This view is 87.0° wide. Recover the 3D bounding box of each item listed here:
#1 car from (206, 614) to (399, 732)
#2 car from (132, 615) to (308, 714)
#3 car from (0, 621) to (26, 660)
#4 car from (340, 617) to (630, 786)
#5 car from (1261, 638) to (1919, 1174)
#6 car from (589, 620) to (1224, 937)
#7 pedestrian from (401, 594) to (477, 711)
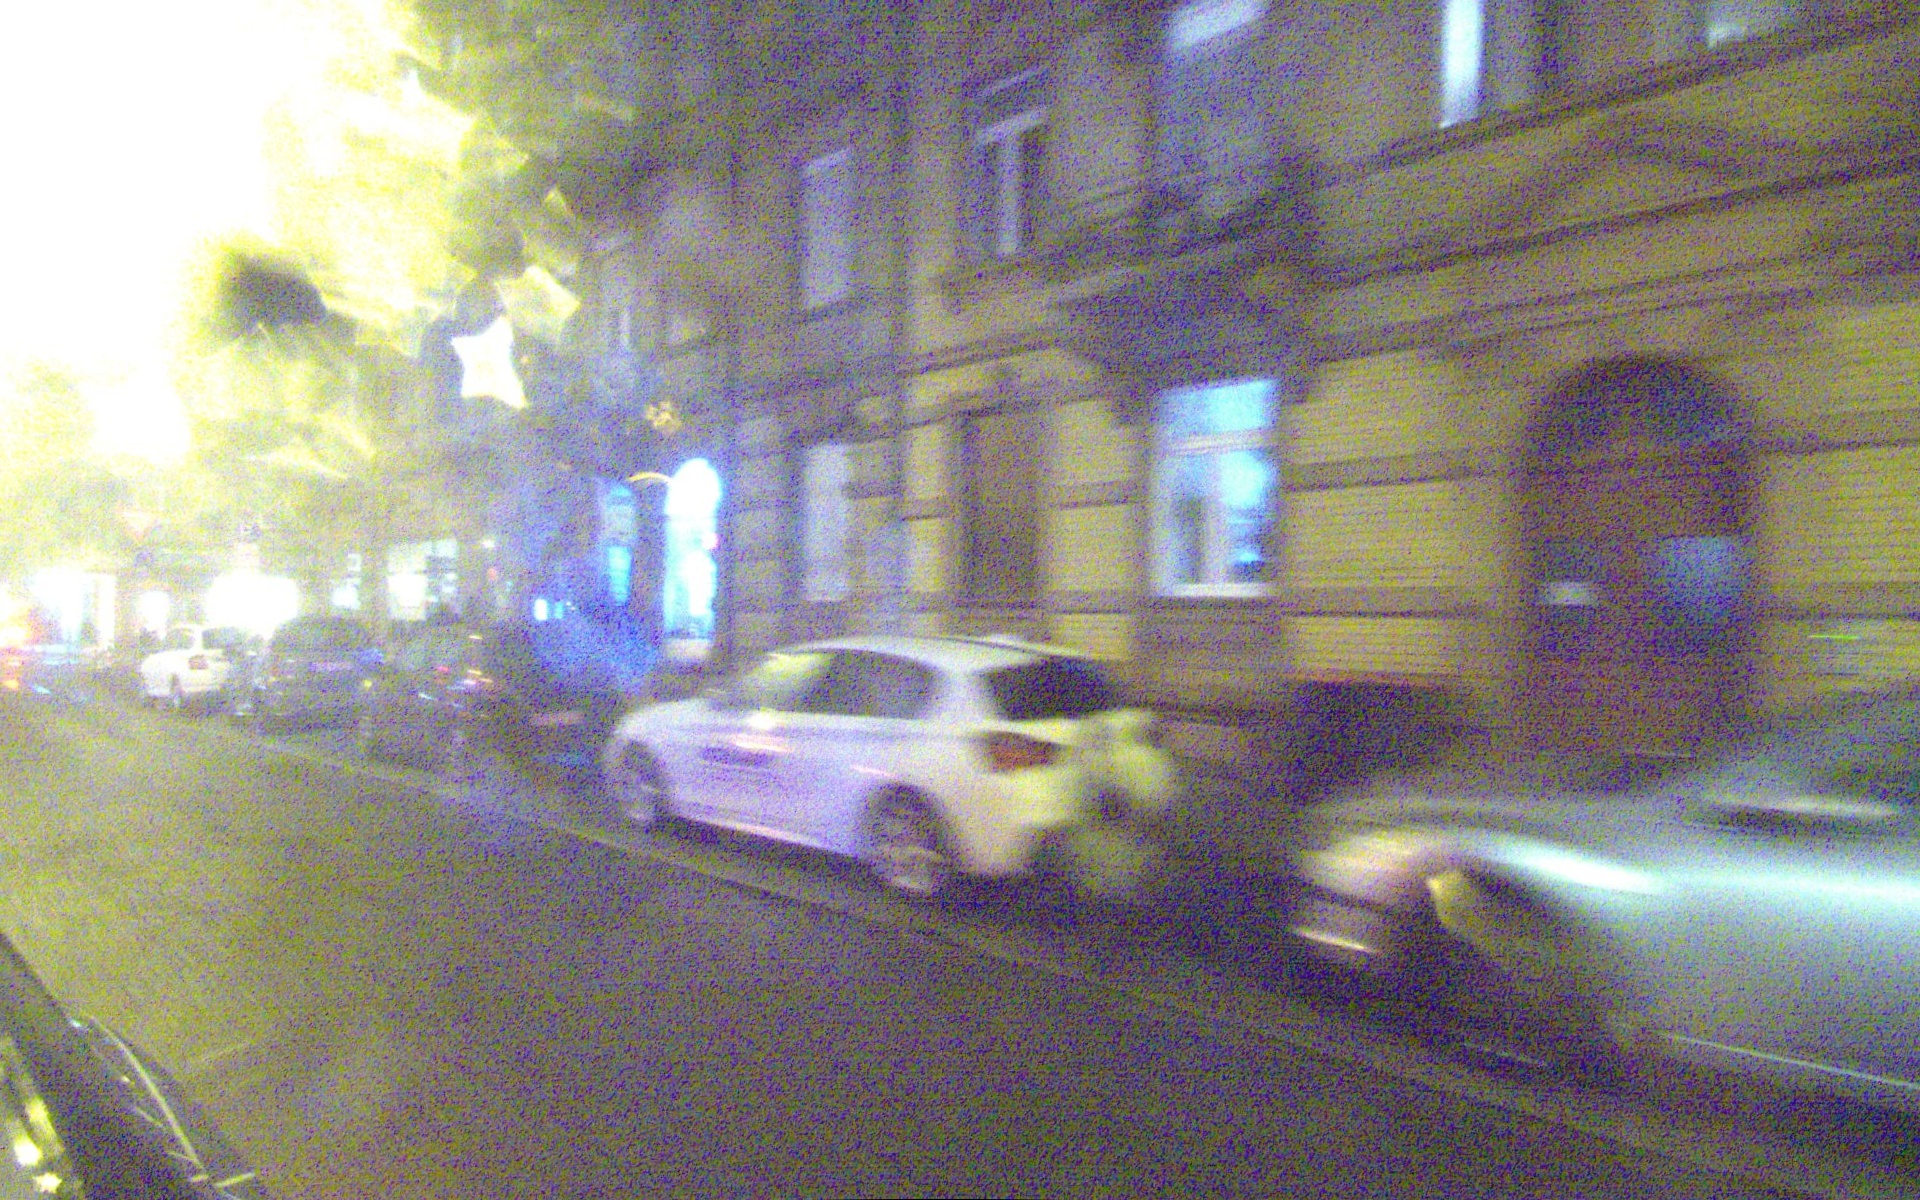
[{"bbox_3d":[-9.579,0.998,14.653,3.385,1.490,1.673,-3,-3,45],"label":"car"},{"bbox_3d":[-12.664,1.048,17.243,3.962,1.490,1.674,-3,-3,42],"label":"car"},{"bbox_3d":[-36.366,1.496,37.182,4.055,1.405,1.860,-2,-2,29],"label":"car"},{"bbox_3d":[-5.003,0.920,10.497,3.382,1.464,1.512,-1,-2,41],"label":"car"},{"bbox_3d":[3.452,0.854,3.120,4.553,1.402,1.708,-1,-2,41],"label":"car"},{"bbox_3d":[-0.600,0.870,6.757,4.271,1.464,1.708,-1,-2,41],"label":"car"},{"bbox_3d":[-8.388,0.815,16.311,0.629,1.801,0.900,0,1,41],"label":"pedestrian"}]
